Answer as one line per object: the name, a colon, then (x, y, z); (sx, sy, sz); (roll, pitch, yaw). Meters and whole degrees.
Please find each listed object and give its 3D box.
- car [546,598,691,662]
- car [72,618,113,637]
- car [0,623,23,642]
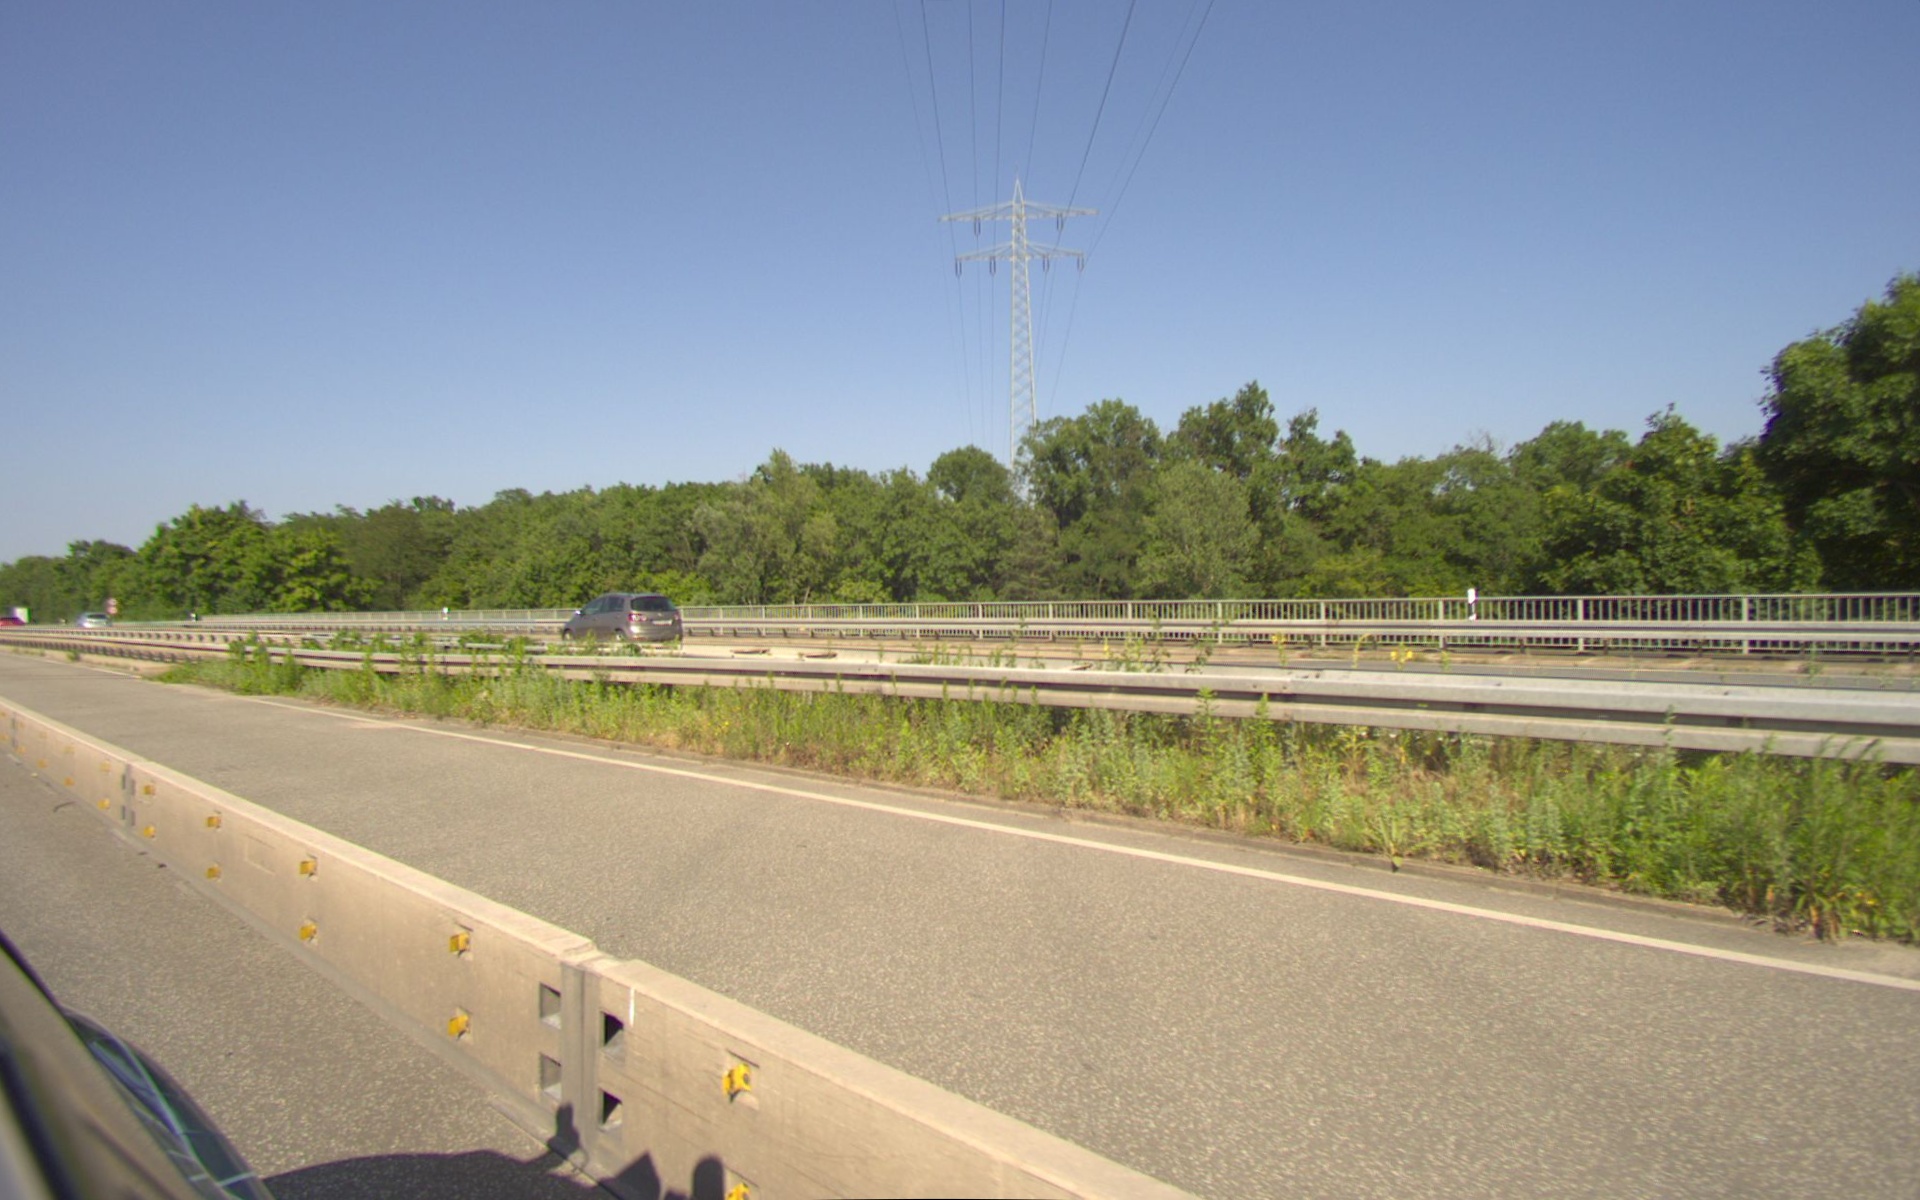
car: (-9.298, 0.784, 27.370); (4.420, 1.595, 1.745); (-1, -1, 41)
car: (-65.649, 2.065, 76.552); (4.123, 1.403, 1.759); (-1, -2, 41)
car: (-74.509, 2.528, 78.831); (4.218, 1.407, 1.697); (-1, 0, 40)
